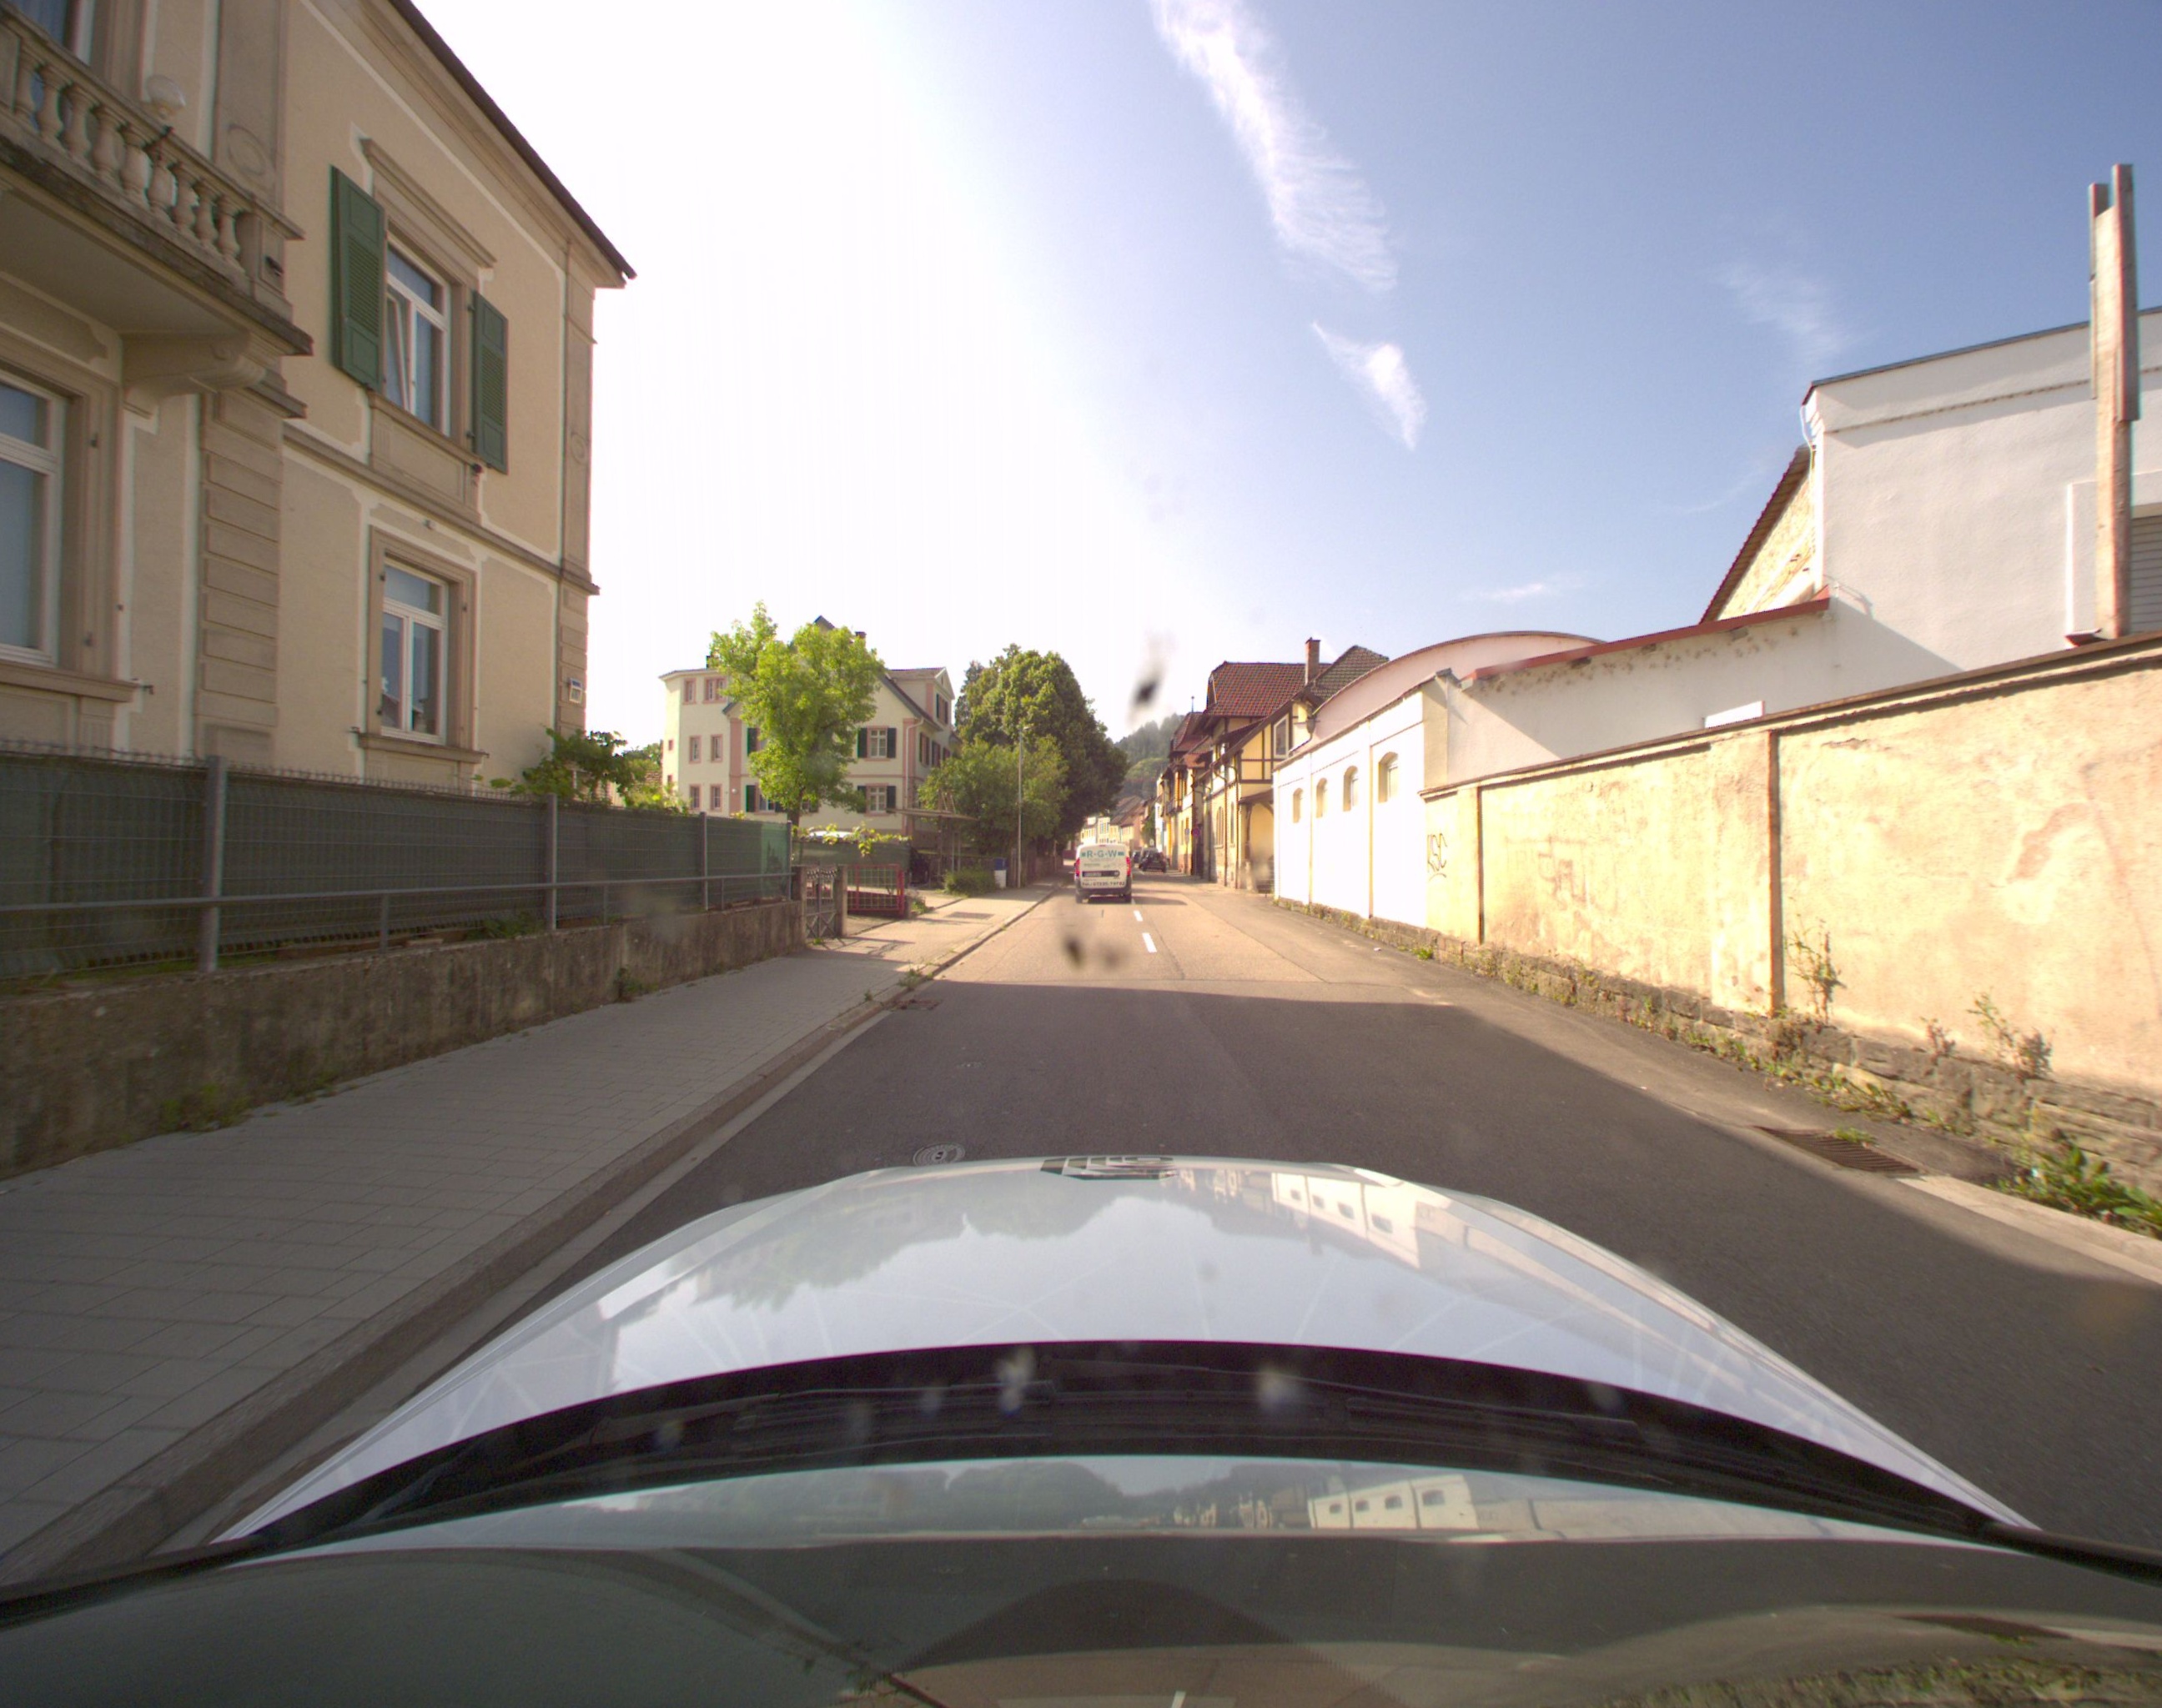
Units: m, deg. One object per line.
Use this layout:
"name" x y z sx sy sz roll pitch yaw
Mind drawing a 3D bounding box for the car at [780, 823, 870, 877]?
"car" -9.617 -0.160 31.022 1.817 1.772 4.682 4 0 0

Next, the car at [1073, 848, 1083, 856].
"car" -0.746 -0.383 191.498 1.771 1.799 3.987 1 0 -9

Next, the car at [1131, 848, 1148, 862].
"car" 6.575 0.100 92.084 1.664 1.508 4.000 0 0 0

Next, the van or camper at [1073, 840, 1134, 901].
"van or camper" 0.731 0.496 26.856 1.821 1.844 4.189 -1 0 1

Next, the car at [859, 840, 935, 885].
"car" -6.699 0.278 30.064 1.609 1.462 4.396 3 1 2

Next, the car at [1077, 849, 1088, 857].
"car" 0.330 -0.230 184.933 1.771 1.799 3.987 1 0 -9

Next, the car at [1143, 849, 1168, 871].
"car" 5.959 0.469 65.406 1.803 1.596 3.929 3 0 2

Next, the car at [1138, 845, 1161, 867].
"car" 6.312 0.186 75.740 1.864 2.013 4.001 1 0 2
